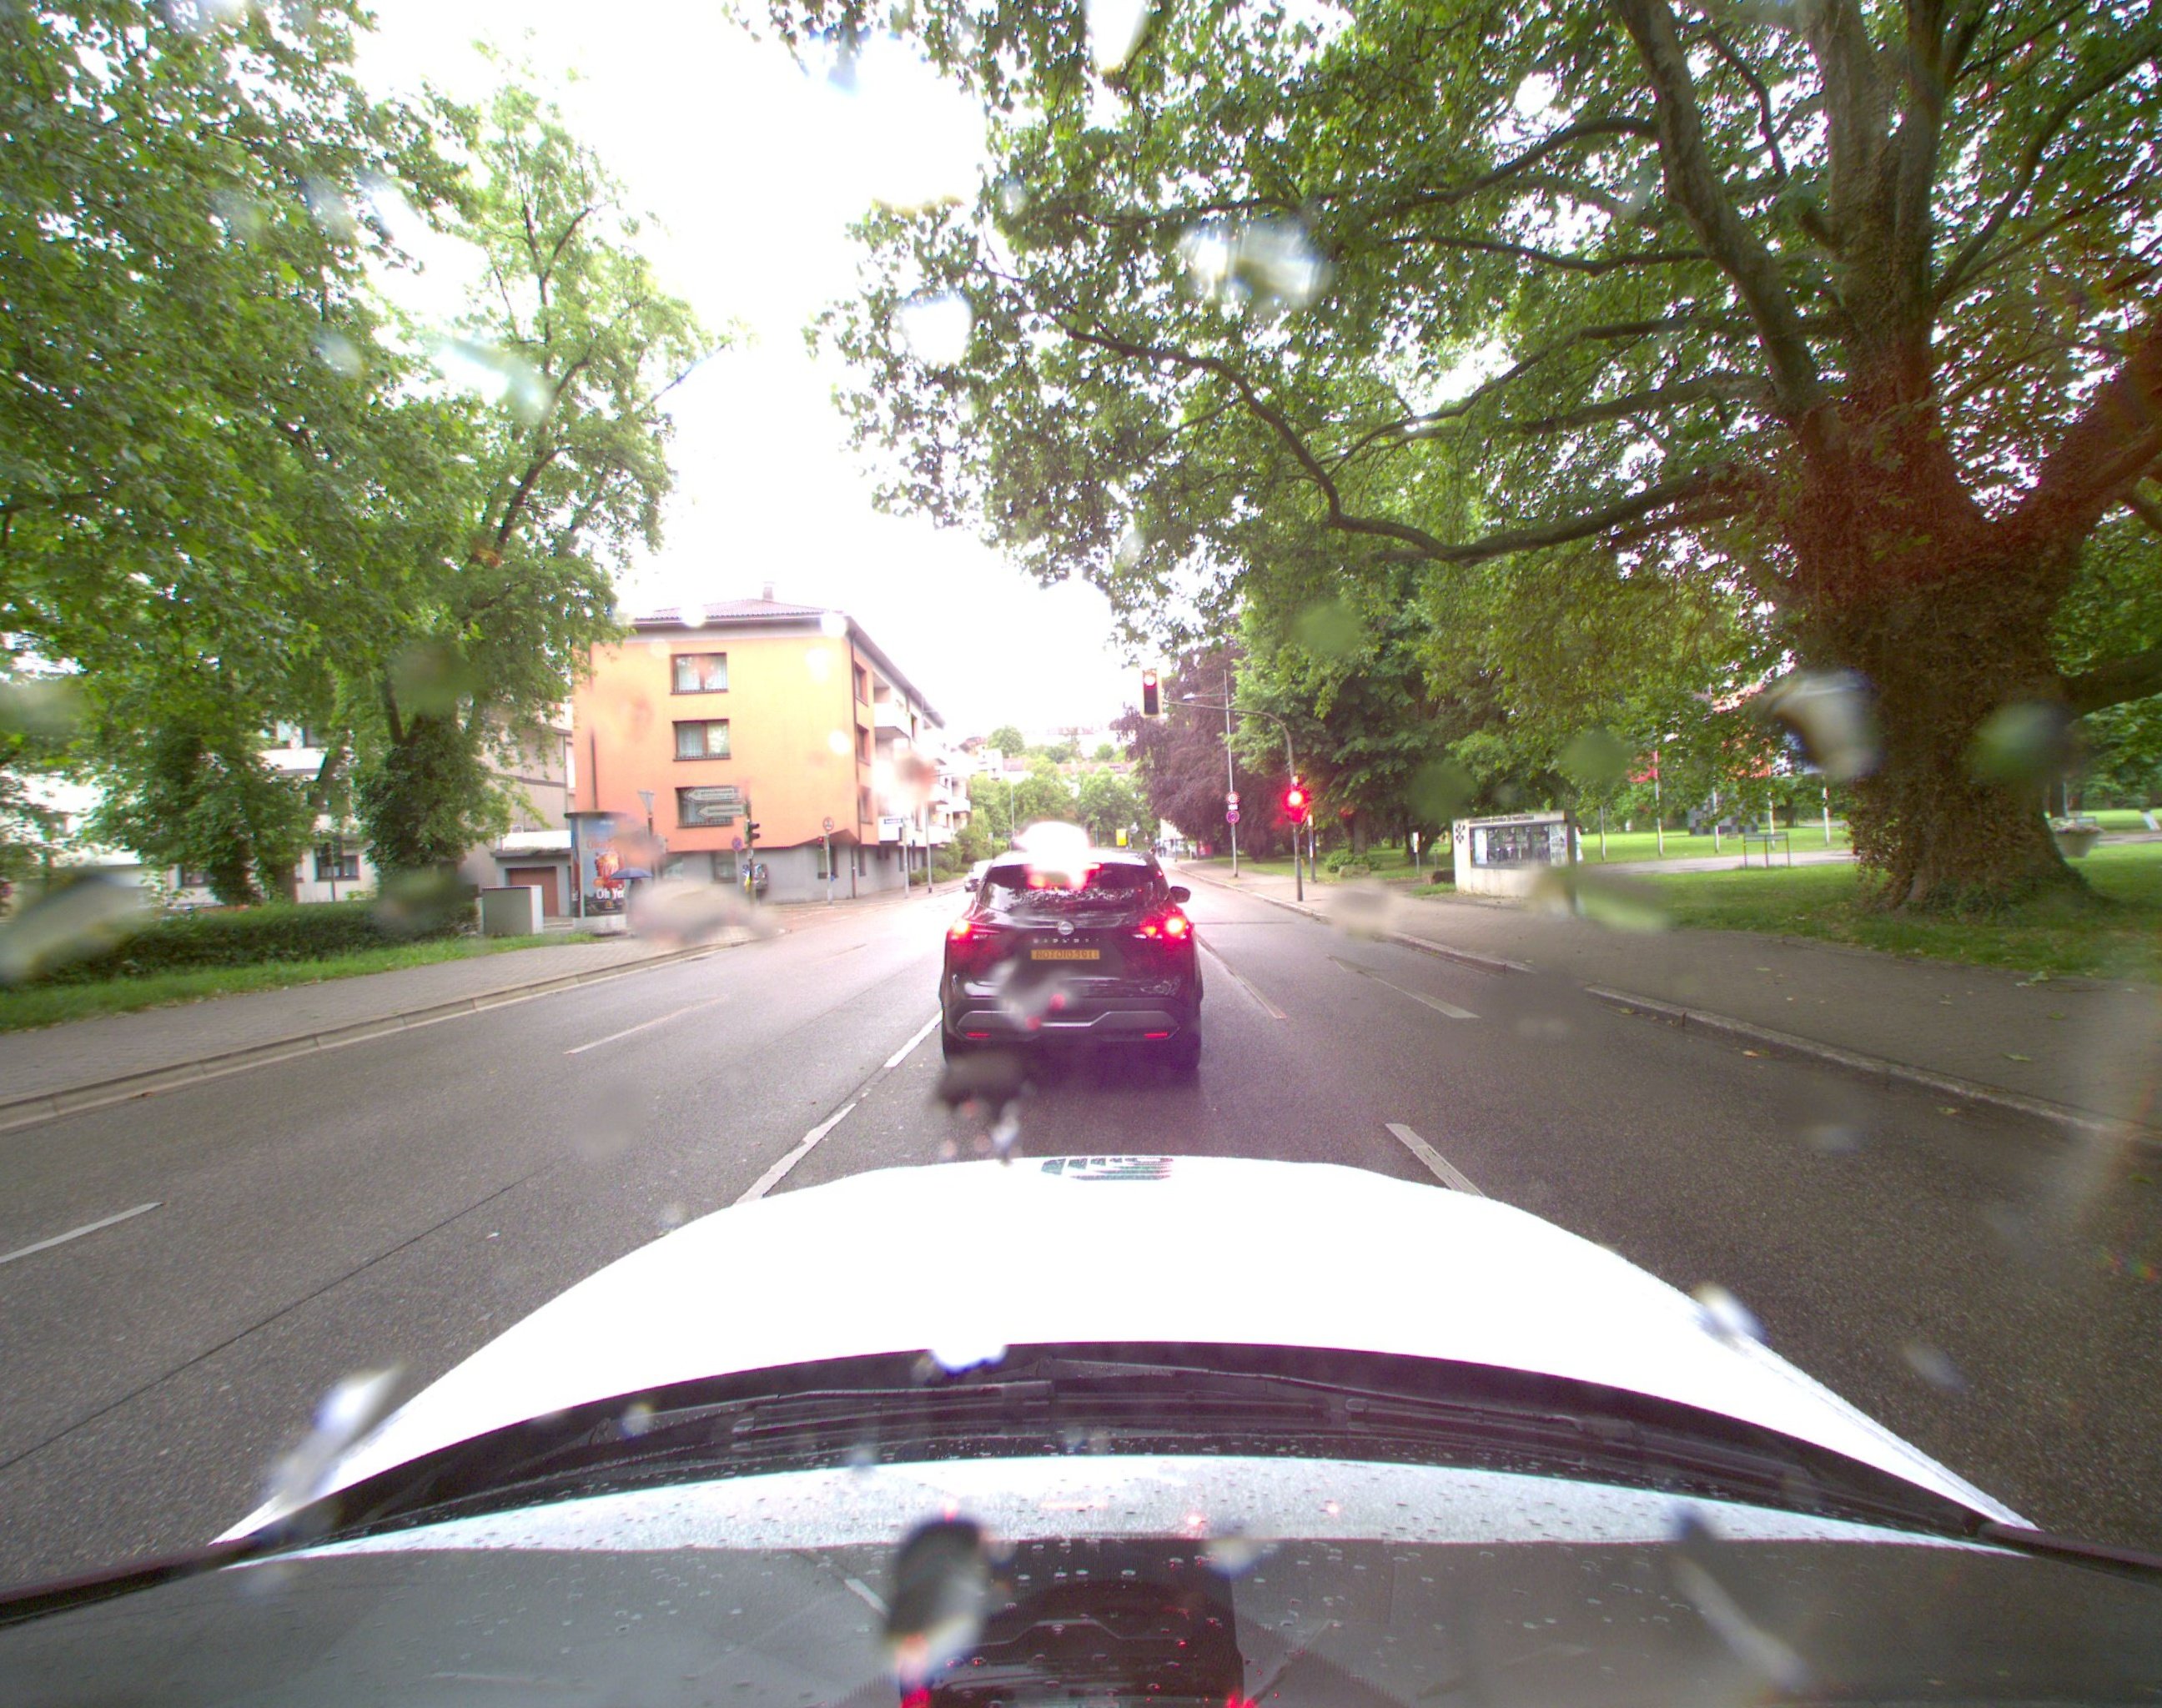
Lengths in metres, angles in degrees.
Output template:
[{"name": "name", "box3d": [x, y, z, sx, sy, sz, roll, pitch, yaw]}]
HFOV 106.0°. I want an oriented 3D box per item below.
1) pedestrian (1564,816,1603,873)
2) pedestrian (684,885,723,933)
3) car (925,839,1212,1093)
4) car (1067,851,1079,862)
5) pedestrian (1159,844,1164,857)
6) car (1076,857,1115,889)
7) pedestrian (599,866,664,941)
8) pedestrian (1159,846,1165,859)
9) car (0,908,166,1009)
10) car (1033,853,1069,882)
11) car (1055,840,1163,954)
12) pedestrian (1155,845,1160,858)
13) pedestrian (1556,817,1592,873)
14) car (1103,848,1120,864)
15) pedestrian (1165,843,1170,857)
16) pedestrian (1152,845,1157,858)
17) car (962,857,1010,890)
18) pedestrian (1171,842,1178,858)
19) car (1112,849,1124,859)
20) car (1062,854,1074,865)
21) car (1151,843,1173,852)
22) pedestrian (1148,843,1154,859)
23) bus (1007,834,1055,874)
[{"name": "pedestrian", "box3d": [15.478, -0.292, 25.074, 0.663, 1.712, 0.788, 0, -1, -7]}, {"name": "pedestrian", "box3d": [-9.928, 1.434, 21.452, 0.683, 1.175, 0.825, -1, 0, -5]}, {"name": "car", "box3d": [-0.019, 0.720, 7.132, 1.799, 1.590, 4.001, 0, -1, 2]}, {"name": "car", "box3d": [-1.349, 0.430, 136.948, 1.743, 1.633, 3.636, -3, 0, 2]}, {"name": "pedestrian", "box3d": [10.707, -0.465, 108.325, 0.616, 1.779, 0.551, -3, 0, 1]}, {"name": "car", "box3d": [0.720, 0.918, 41.167, 1.802, 1.417, 4.031, -2, 0, 1]}, {"name": "pedestrian", "box3d": [-11.018, 1.183, 20.015, 0.990, 1.742, 1.207, -1, 0, -6]}, {"name": "pedestrian", "box3d": [10.279, -0.231, 103.252, 0.696, 1.651, 0.628, 0, -1, 2]}, {"name": "car", "box3d": [-18.005, 1.737, 13.808, 3.182, 1.524, 1.507, 0, -1, -1]}, {"name": "car", "box3d": [-1.616, 0.720, 44.842, 1.618, 1.415, 3.456, -3, 0, 2]}, {"name": "car", "box3d": [0.562, 0.672, 14.791, 1.615, 1.709, 3.774, -3, 0, 3]}, {"name": "pedestrian", "box3d": [9.578, -0.312, 101.724, 0.513, 1.655, 0.550, 0, -1, 1]}, {"name": "pedestrian", "box3d": [15.717, -0.286, 25.954, 0.663, 1.756, 0.722, 0, -1, -7]}, {"name": "car", "box3d": [3.160, 0.196, 83.274, 1.618, 1.415, 3.456, -3, 0, 2]}, {"name": "pedestrian", "box3d": [11.562, -0.549, 108.880, 0.616, 1.779, 0.551, -3, 0, 1]}, {"name": "pedestrian", "box3d": [9.278, -0.276, 103.201, 0.542, 1.651, 0.490, 0, -1, 2]}, {"name": "car", "box3d": [-4.741, 0.963, 41.245, 1.802, 1.417, 4.031, -4, 0, 1]}, {"name": "pedestrian", "box3d": [10.382, -0.453, 90.530, 0.616, 1.779, 0.779, -3, 0, 1]}, {"name": "car", "box3d": [6.187, 0.006, 136.342, 1.743, 1.633, 3.636, -3, 0, 2]}, {"name": "car", "box3d": [-1.941, 0.855, 123.520, 1.671, 1.469, 4.217, -4, 0, 1]}, {"name": "car", "box3d": [16.249, -1.335, 164.032, 3.986, 1.684, 1.994, -3, 0, -9]}, {"name": "pedestrian", "box3d": [9.812, -0.426, 113.993, 0.764, 2.183, 0.712, 0, -1, 5]}, {"name": "bus", "box3d": [-4.060, 0.020, 68.777, 2.756, 2.974, 11.786, -3, 0, 2]}]
